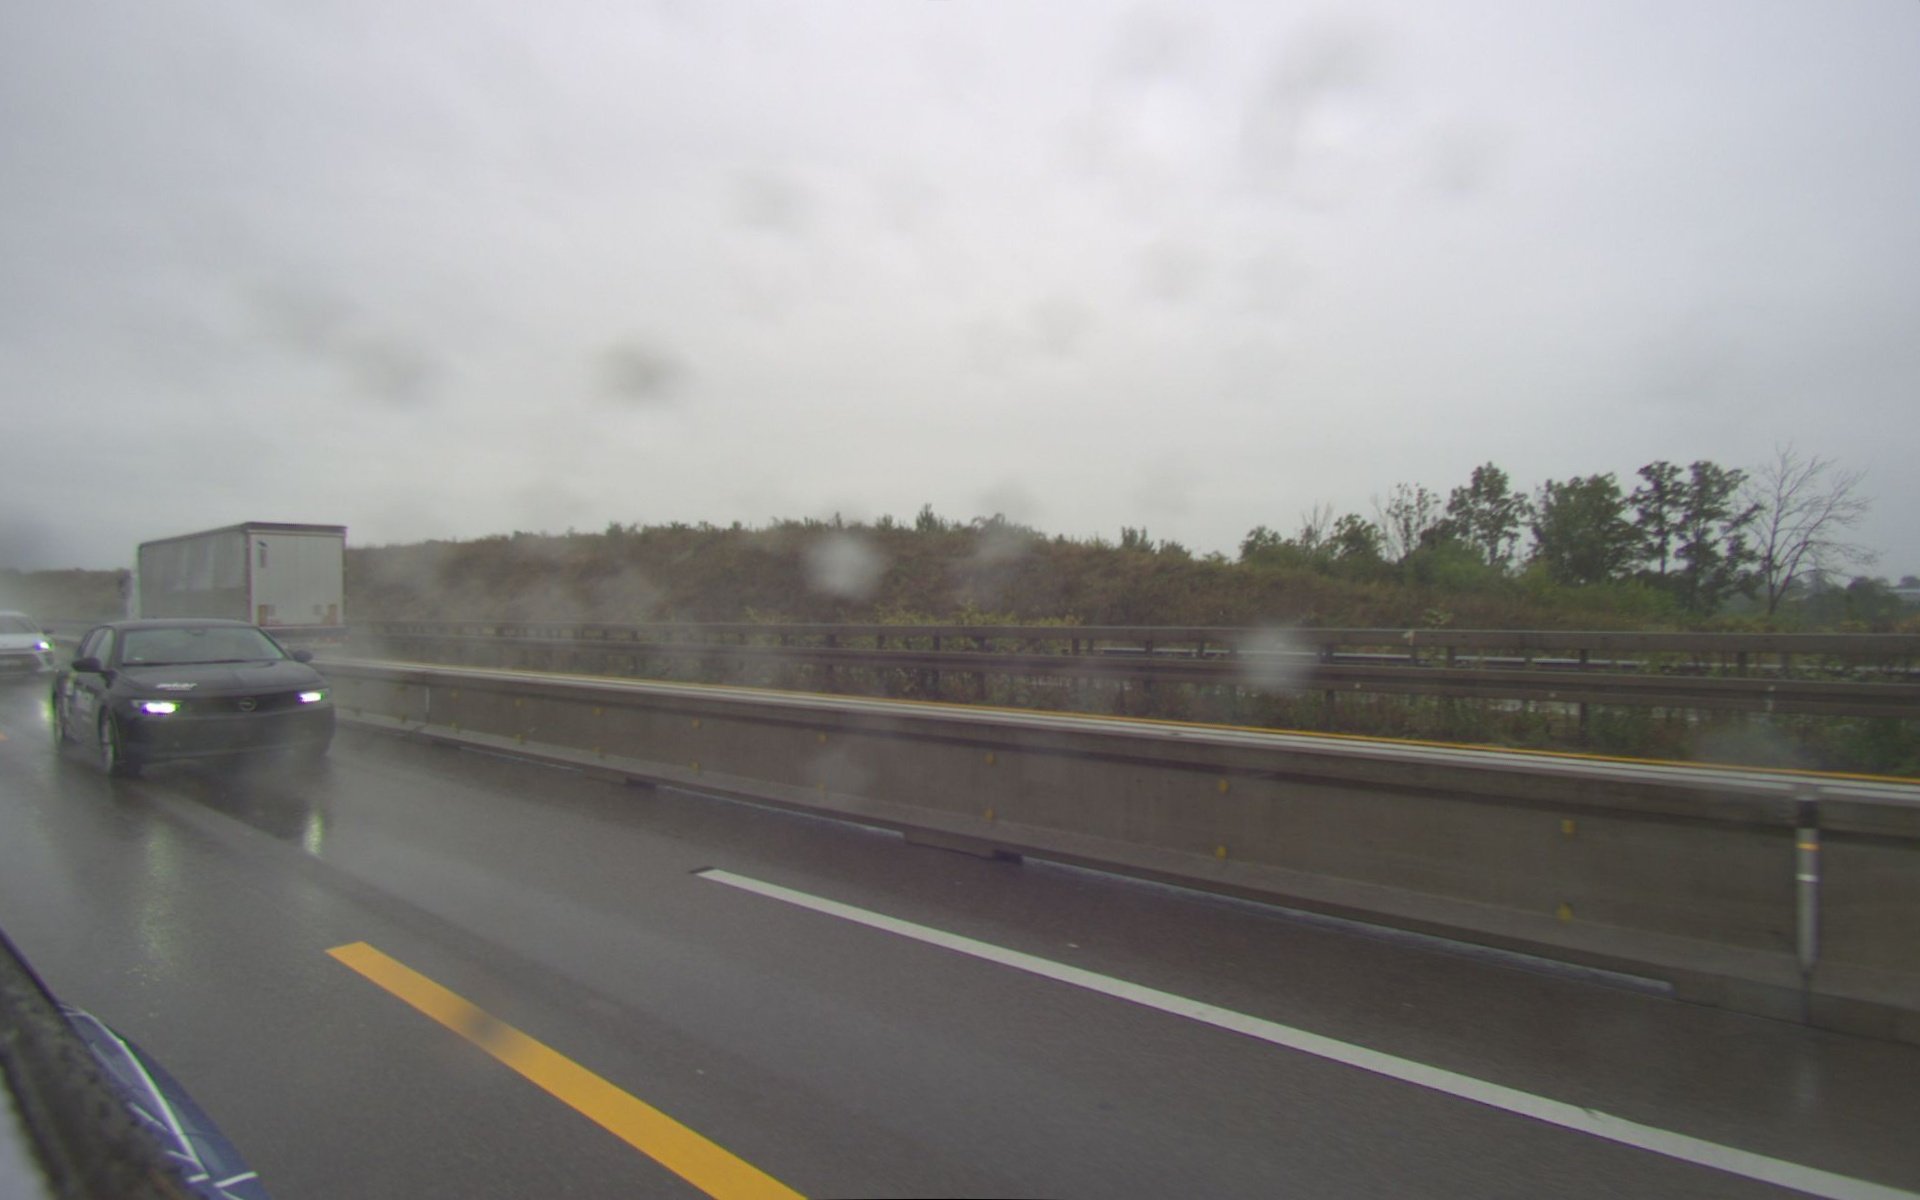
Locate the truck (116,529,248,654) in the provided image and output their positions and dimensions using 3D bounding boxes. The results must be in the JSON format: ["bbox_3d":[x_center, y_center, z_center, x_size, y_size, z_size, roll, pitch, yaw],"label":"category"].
[{"bbox_3d":[-29.376,-0.290,38.106,6.746,4.309,2.680,0,0,41],"label":"truck"}]

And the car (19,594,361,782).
[{"bbox_3d":[-8.209,0.754,10.604,4.793,1.539,1.919,-1,-1,41],"label":"car"}]

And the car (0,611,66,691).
[{"bbox_3d":[-21.900,1.110,22.933,3.998,1.693,1.946,0,0,41],"label":"car"}]

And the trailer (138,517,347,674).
[{"bbox_3d":[-23.879,-0.093,33.187,13.065,4.309,2.658,0,0,41],"label":"trailer"}]
